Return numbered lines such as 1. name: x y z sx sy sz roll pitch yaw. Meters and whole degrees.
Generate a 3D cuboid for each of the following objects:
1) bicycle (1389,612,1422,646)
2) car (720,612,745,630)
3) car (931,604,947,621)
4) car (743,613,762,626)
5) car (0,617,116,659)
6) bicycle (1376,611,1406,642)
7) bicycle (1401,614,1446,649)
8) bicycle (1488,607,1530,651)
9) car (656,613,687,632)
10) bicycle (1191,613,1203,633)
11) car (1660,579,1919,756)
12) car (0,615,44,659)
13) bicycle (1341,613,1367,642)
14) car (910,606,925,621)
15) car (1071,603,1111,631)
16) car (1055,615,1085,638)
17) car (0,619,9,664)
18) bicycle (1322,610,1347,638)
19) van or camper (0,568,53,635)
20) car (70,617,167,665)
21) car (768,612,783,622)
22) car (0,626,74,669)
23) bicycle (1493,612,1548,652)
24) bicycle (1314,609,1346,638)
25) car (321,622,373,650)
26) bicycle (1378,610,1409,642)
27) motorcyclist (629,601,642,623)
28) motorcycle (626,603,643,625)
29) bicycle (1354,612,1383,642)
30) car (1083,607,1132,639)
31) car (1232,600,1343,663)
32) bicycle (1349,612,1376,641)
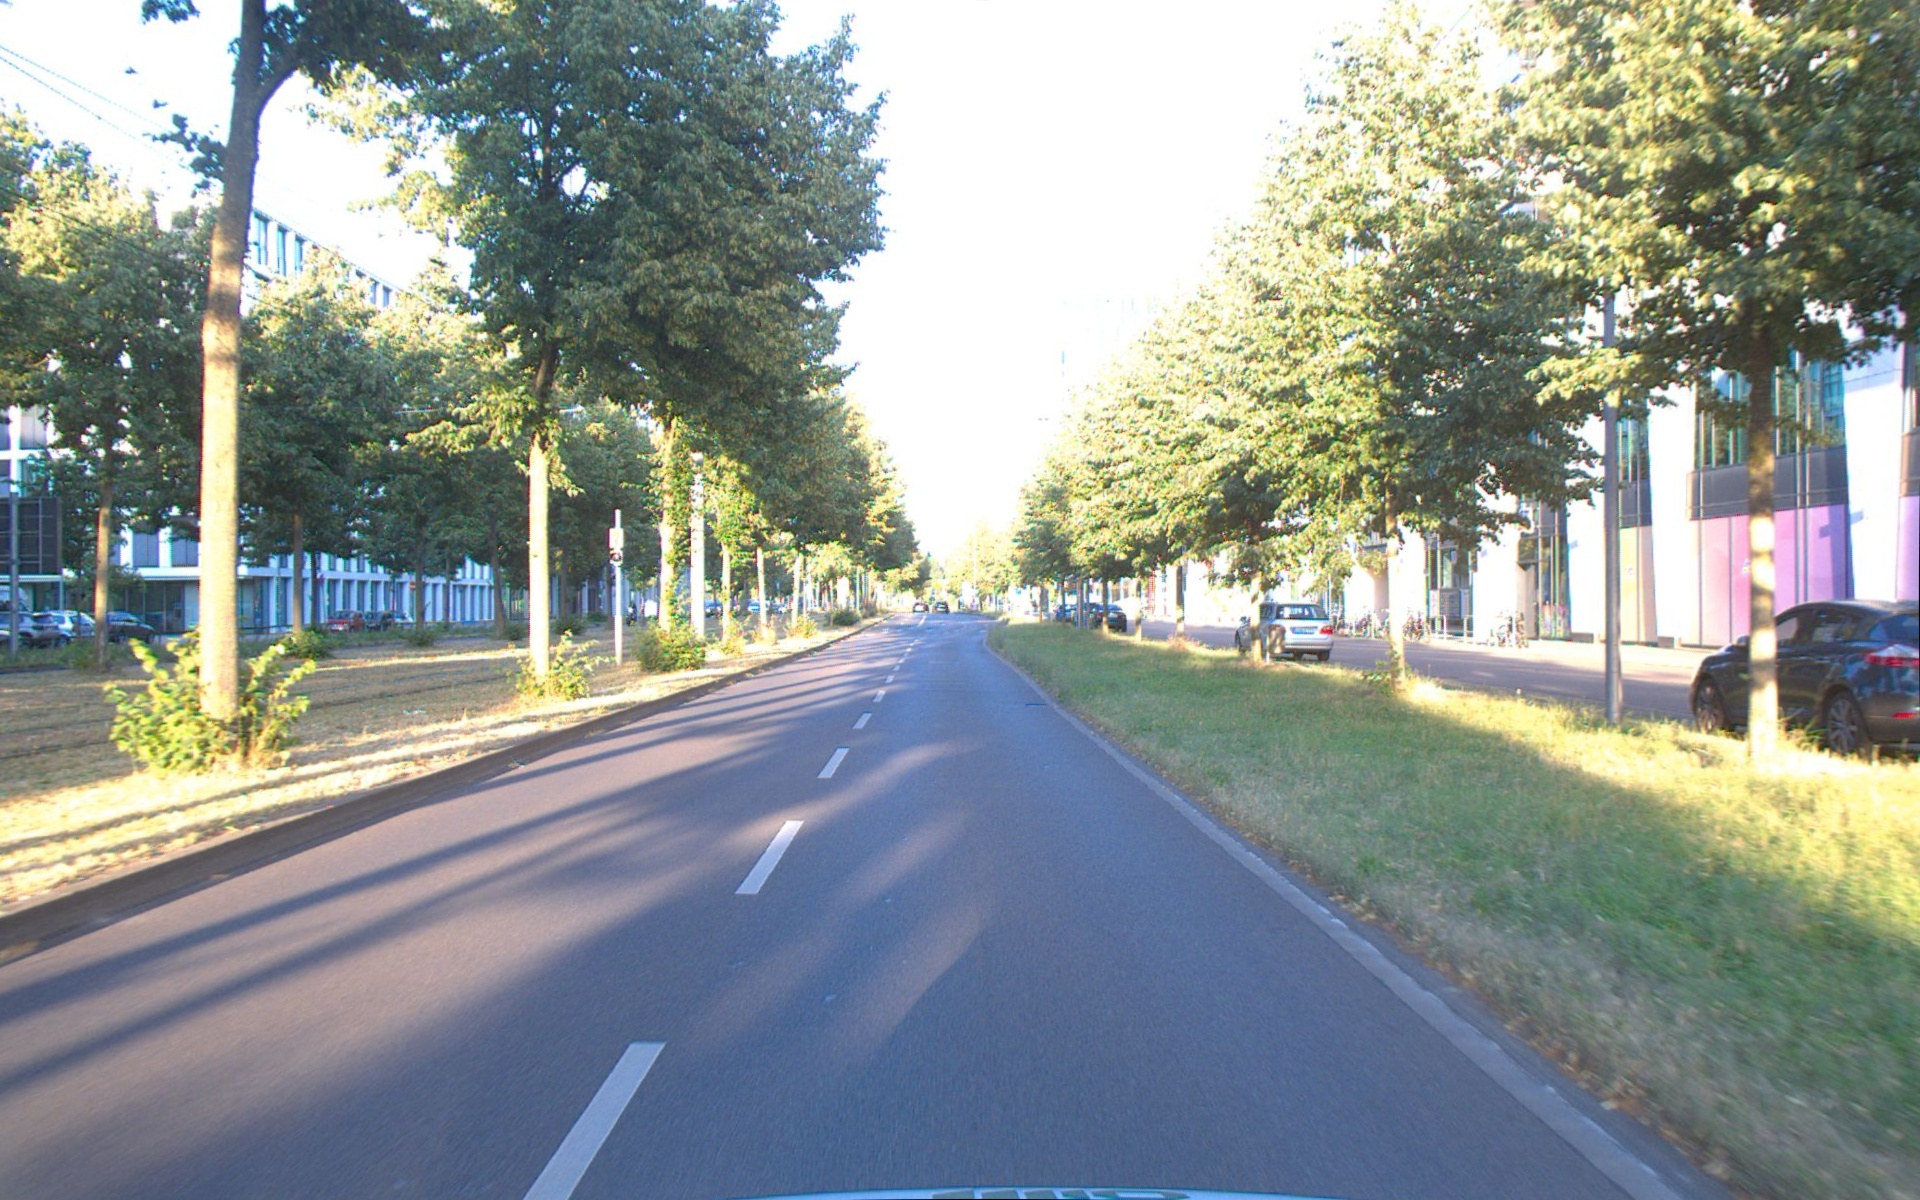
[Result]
1. bicycle: 14.717 0.937 54.621 0.522 1.079 1.856 -2 0 -1
2. car: -21.034 1.970 153.171 1.847 1.605 4.180 -1 0 -2
3. car: -2.703 1.605 211.510 1.953 2.049 3.999 0 0 -2
4. car: -22.166 2.075 177.034 1.624 1.355 4.527 -1 0 -2
5. car: -37.297 1.543 68.292 3.908 1.668 1.920 -1 0 -4
6. bicycle: 15.474 0.936 59.407 0.522 1.079 1.856 -2 0 -1
7. bicycle: 14.718 1.003 52.571 0.524 1.079 1.850 -2 0 -13
8. bicycle: 15.348 0.807 46.244 0.527 1.184 1.781 -2 0 0
9. car: -23.971 1.838 137.416 1.879 1.534 4.286 -1 0 -1
10. bicycle: 14.284 1.396 99.665 0.558 1.144 1.835 -3 0 10
11. car: 8.692 0.592 16.396 1.689 1.527 4.232 1 0 -1
12. car: -37.661 1.434 63.506 3.908 1.668 1.920 -1 0 -4
13. bicycle: 14.988 1.040 62.968 0.522 1.079 1.856 -1 0 -1
14. car: -5.868 1.799 227.846 2.045 2.049 3.999 0 0 -2
15. car: 7.380 0.961 93.562 1.817 1.556 4.481 1 -1 -1
16. car: 7.451 1.788 112.452 1.689 1.556 4.267 1 -1 -1
17. car: -37.628 1.568 61.028 3.908 1.668 1.920 -1 0 -4
18. bicycle: 14.931 0.949 65.989 0.522 1.079 1.856 -2 0 -1
19. van or camper: -46.141 0.096 78.360 2.654 3.139 6.264 0 0 3
20. car: -38.220 1.832 75.243 1.953 2.049 4.930 -1 0 -1
21. car: -25.136 2.296 225.024 1.740 1.436 3.707 -1 0 -3
22. car: -37.776 1.899 65.891 3.908 1.668 1.920 -1 0 -4
23. bicycle: 15.682 0.889 46.282 0.524 1.079 1.850 -2 0 -13
24. bicycle: 14.256 0.899 63.801 0.523 1.079 1.776 -2 0 -10
25. car: -36.302 2.121 98.017 1.822 1.609 3.492 0 0 0
26. bicycle: 14.894 0.885 56.842 0.522 1.079 1.856 -2 0 -1
27. motorcyclist: -20.719 0.758 105.542 0.667 1.400 0.804 -1 -1 -2
28. motorcycle: -20.722 0.886 105.470 0.668 1.360 2.344 -1 0 -2
29. bicycle: 14.927 0.979 60.471 0.522 1.079 1.856 -2 0 -1
30. car: 7.687 1.195 86.460 1.905 1.576 4.809 -1 -1 -3
31. car: 8.366 0.768 42.650 1.772 1.527 4.823 0 0 -2
32. bicycle: 15.555 1.028 63.926 0.522 1.079 1.856 -2 0 -1
